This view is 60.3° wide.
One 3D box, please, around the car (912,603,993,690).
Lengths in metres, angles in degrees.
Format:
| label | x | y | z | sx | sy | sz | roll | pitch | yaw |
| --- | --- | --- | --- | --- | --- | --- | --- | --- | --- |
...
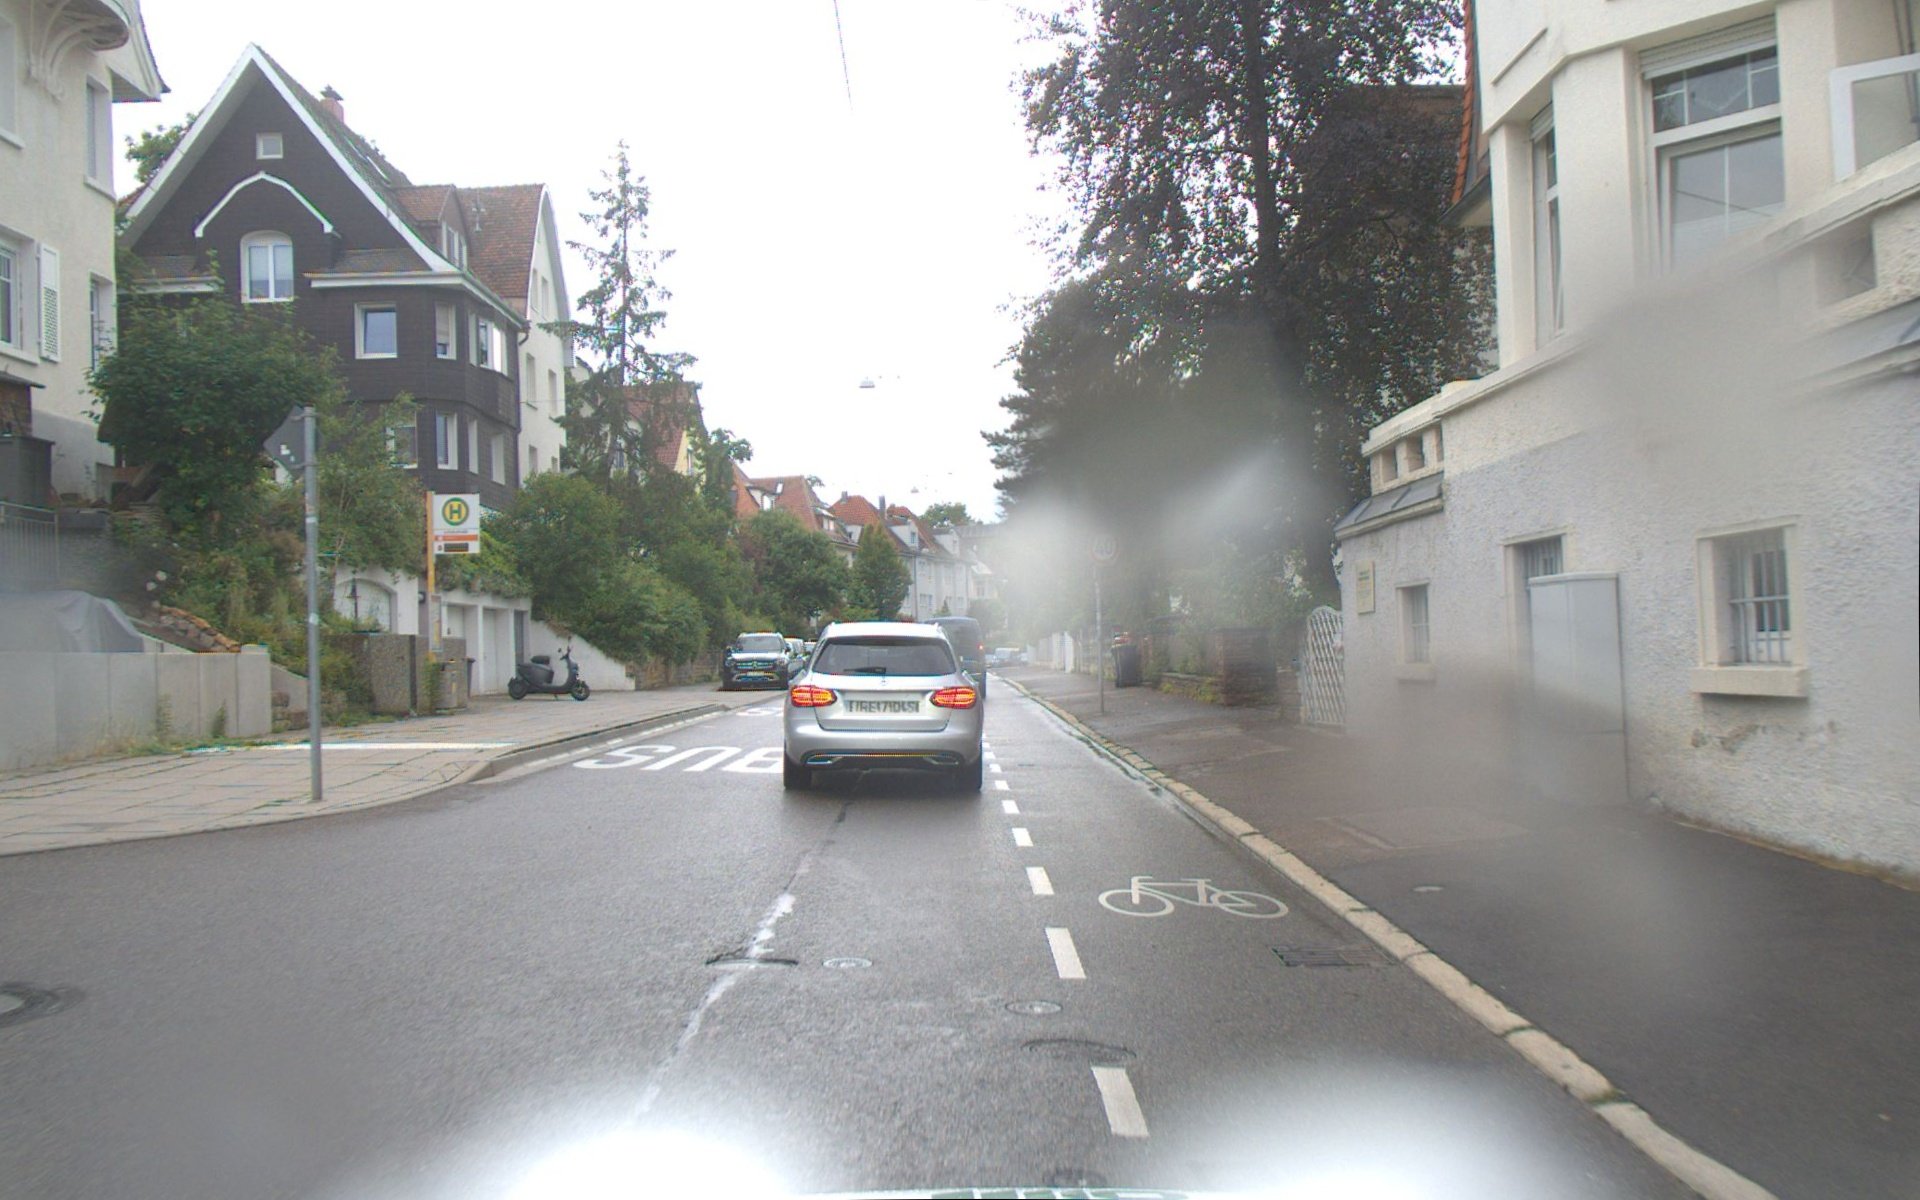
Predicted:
| label | x | y | z | sx | sy | sz | roll | pitch | yaw |
| --- | --- | --- | --- | --- | --- | --- | --- | --- | --- |
| car | -0.169 | 1.125 | 39.159 | 1.805 | 1.937 | 3.999 | -1 | -2 | 0 |

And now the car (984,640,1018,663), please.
| label | x | y | z | sx | sy | sz | roll | pitch | yaw |
| --- | --- | --- | --- | --- | --- | --- | --- | --- | --- |
| car | 3.752 | 4.675 | 149.668 | 1.790 | 2.092 | 5.012 | -1 | -2 | 16 |

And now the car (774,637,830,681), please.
| label | x | y | z | sx | sy | sz | roll | pitch | yaw |
| --- | --- | --- | --- | --- | --- | --- | --- | --- | --- |
| car | -5.907 | 2.182 | 62.280 | 1.720 | 1.472 | 4.415 | -1 | 0 | -1 |

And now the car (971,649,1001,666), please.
| label | x | y | z | sx | sy | sz | roll | pitch | yaw |
| --- | --- | --- | --- | --- | --- | --- | --- | --- | --- |
| car | 2.247 | 5.004 | 143.536 | 1.608 | 1.442 | 4.615 | -1 | -2 | 14 |

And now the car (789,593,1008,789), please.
| label | x | y | z | sx | sy | sz | roll | pitch | yaw |
| --- | --- | --- | --- | --- | --- | --- | --- | --- | --- |
| car | -0.604 | 0.792 | 15.480 | 1.780 | 1.584 | 3.997 | 0 | -2 | -3 |

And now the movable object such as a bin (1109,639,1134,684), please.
| label | x | y | z | sx | sy | sz | roll | pitch | yaw |
| --- | --- | --- | --- | --- | --- | --- | --- | --- | --- |
| movable object such as a bin | 3.622 | 1.372 | 37.080 | 0.484 | 0.972 | 0.503 | -1 | 0 | -3 |

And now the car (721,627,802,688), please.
| label | x | y | z | sx | sy | sz | roll | pitch | yaw |
| --- | --- | --- | --- | --- | --- | --- | --- | --- | --- |
| car | -5.672 | 1.640 | 47.729 | 1.855 | 1.651 | 4.377 | -1 | -1 | -1 |

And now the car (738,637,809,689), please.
| label | x | y | z | sx | sy | sz | roll | pitch | yaw |
| --- | --- | --- | --- | --- | --- | --- | --- | --- | --- |
| car | -5.911 | 1.965 | 52.756 | 1.855 | 1.472 | 3.813 | -1 | 0 | -1 |

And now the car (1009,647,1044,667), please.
| label | x | y | z | sx | sy | sz | roll | pitch | yaw |
| --- | --- | --- | --- | --- | --- | --- | --- | --- | --- |
| car | 6.334 | 5.412 | 156.392 | 1.952 | 1.718 | 4.677 | -1 | 0 | 20 |

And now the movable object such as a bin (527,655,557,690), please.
| label | x | y | z | sx | sy | sz | roll | pitch | yaw |
| --- | --- | --- | --- | --- | --- | --- | --- | --- | --- |
| movable object such as a bin | -11.240 | 1.933 | 44.472 | 0.480 | 0.904 | 0.617 | -1 | 0 | 45 |

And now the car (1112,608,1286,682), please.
| label | x | y | z | sx | sy | sz | roll | pitch | yaw |
| --- | --- | --- | --- | --- | --- | --- | --- | --- | --- |
| car | 5.770 | 1.075 | 40.282 | 3.906 | 1.668 | 1.918 | -1 | 0 | -1 |

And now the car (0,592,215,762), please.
| label | x | y | z | sx | sy | sz | roll | pitch | yaw |
| --- | --- | --- | --- | --- | --- | --- | --- | --- | --- |
| car | -10.175 | 0.797 | 18.944 | 1.731 | 1.726 | 3.996 | -1 | 0 | -5 |

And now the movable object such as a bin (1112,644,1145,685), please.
| label | x | y | z | sx | sy | sz | roll | pitch | yaw |
| --- | --- | --- | --- | --- | --- | --- | --- | --- | --- |
| movable object such as a bin | 3.707 | 1.423 | 36.432 | 0.638 | 0.870 | 0.503 | -1 | 0 | -3 |

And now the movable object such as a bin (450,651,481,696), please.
| label | x | y | z | sx | sy | sz | roll | pitch | yaw |
| --- | --- | --- | --- | --- | --- | --- | --- | --- | --- |
| movable object such as a bin | -11.080 | 1.646 | 37.066 | 0.562 | 0.970 | 0.512 | -1 | 0 | -5 |

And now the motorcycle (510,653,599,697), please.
| label | x | y | z | sx | sy | sz | roll | pitch | yaw |
| --- | --- | --- | --- | --- | --- | --- | --- | --- | --- |
| motorcycle | -8.794 | 1.622 | 35.896 | 1.758 | 0.919 | 0.603 | 1 | -2 | -1 |

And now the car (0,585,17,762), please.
| label | x | y | z | sx | sy | sz | roll | pitch | yaw |
| --- | --- | --- | --- | --- | --- | --- | --- | --- | --- |
| car | -9.703 | 0.702 | 13.693 | 1.731 | 1.646 | 3.996 | -1 | 0 | -5 |
